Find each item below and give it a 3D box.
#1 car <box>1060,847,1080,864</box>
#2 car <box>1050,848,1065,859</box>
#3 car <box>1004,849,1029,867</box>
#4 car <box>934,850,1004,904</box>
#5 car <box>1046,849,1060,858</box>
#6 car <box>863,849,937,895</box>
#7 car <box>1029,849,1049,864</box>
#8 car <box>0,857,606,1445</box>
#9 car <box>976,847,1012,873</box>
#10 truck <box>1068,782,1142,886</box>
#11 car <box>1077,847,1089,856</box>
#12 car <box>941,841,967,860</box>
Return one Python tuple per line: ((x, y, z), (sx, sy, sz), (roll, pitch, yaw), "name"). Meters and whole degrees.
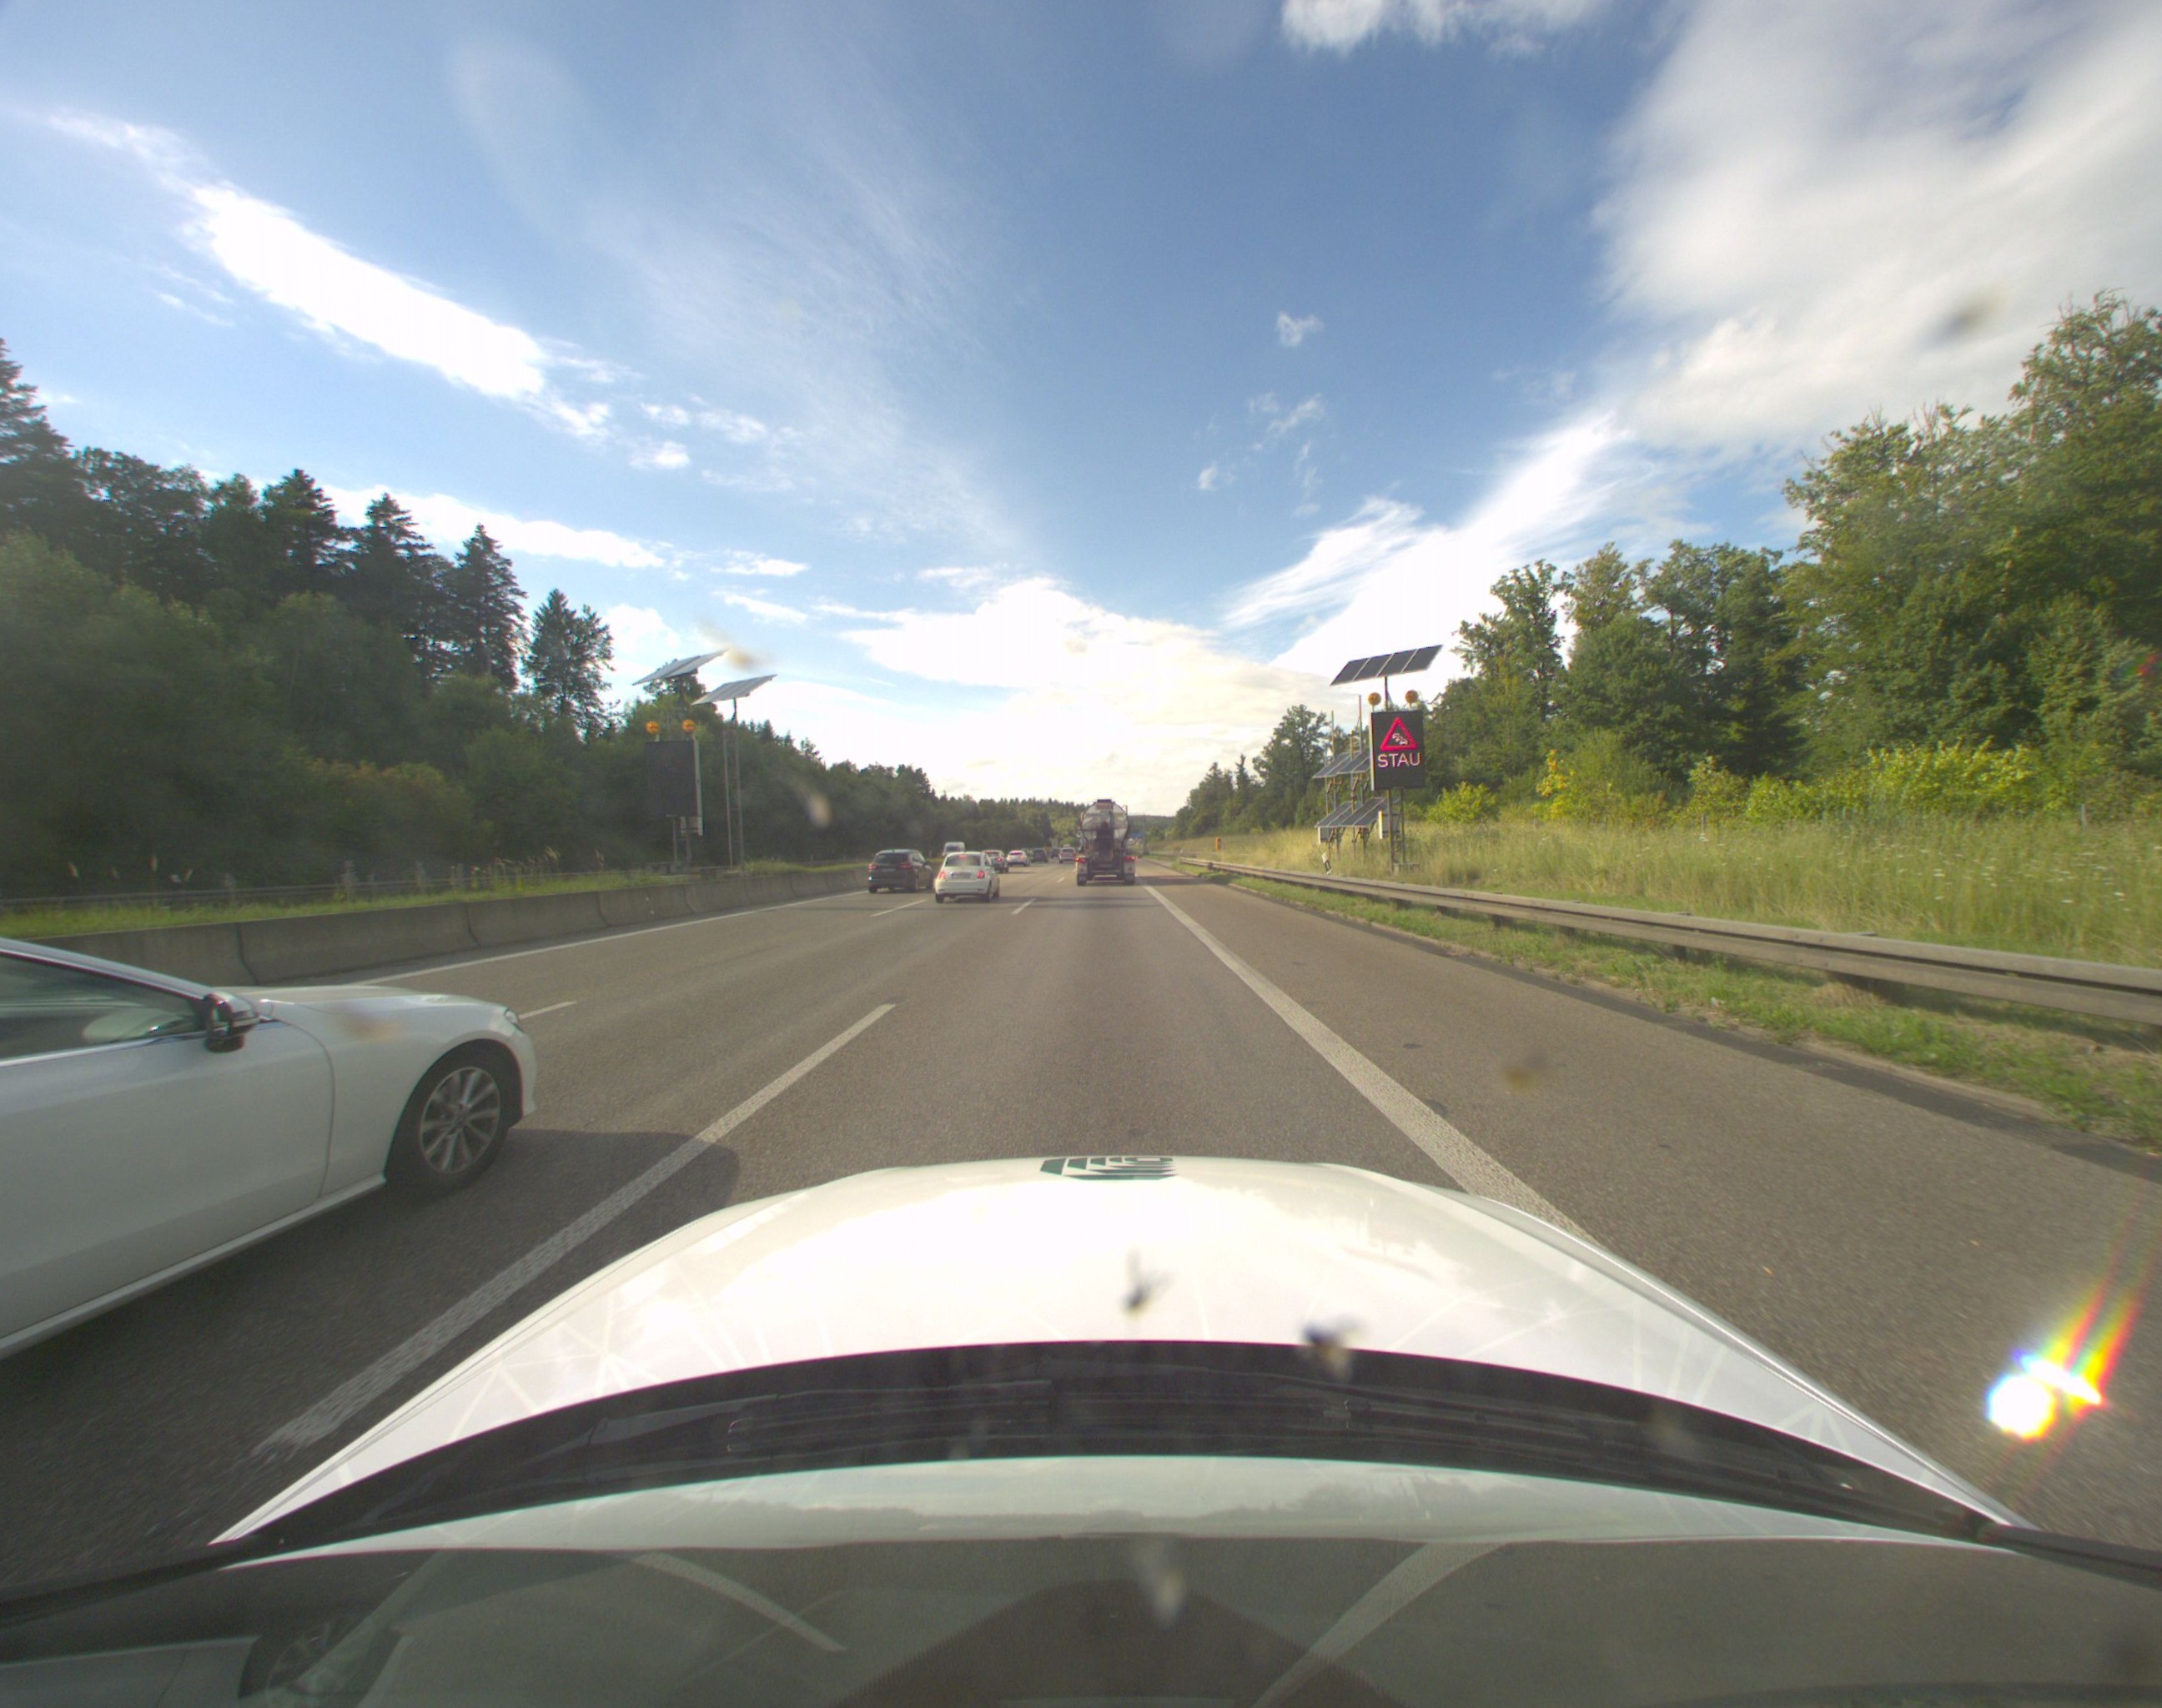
((-1.097, 0.153, 86.503), (1.935, 1.654, 4.208), (0, 1, 1), "car")
((-3.373, -0.089, 118.815), (1.935, 1.456, 4.208), (0, 1, 1), "car")
((-5.766, 0.328, 73.633), (1.800, 1.585, 4.208), (0, 1, 1), "car")
((-3.400, 0.666, 25.277), (1.612, 1.544, 3.521), (0, 0, 1), "car")
((-4.549, -0.109, 131.579), (1.935, 1.456, 4.208), (0, 1, 1), "car")
((-6.876, 0.653, 31.436), (1.800, 1.585, 4.208), (0, 1, 1), "car")
((-4.750, 0.272, 92.741), (1.935, 1.585, 4.208), (0, 1, 1), "car")
((-3.853, 0.804, 1.799), (2.052, 1.499, 5.739), (-1, 0, 2), "car")
((-5.750, 0.376, 54.286), (1.800, 1.585, 4.208), (0, 1, 1), "car")
((1.185, -0.847, 38.543), (2.901, 4.157, 11.276), (-1, 0, 2), "truck")
((0.391, -0.432, 146.371), (1.935, 1.456, 4.208), (0, 1, 1), "car")
((-16.157, -0.401, 103.850), (2.101, 2.312, 6.727), (-1, 0, 2), "car")
